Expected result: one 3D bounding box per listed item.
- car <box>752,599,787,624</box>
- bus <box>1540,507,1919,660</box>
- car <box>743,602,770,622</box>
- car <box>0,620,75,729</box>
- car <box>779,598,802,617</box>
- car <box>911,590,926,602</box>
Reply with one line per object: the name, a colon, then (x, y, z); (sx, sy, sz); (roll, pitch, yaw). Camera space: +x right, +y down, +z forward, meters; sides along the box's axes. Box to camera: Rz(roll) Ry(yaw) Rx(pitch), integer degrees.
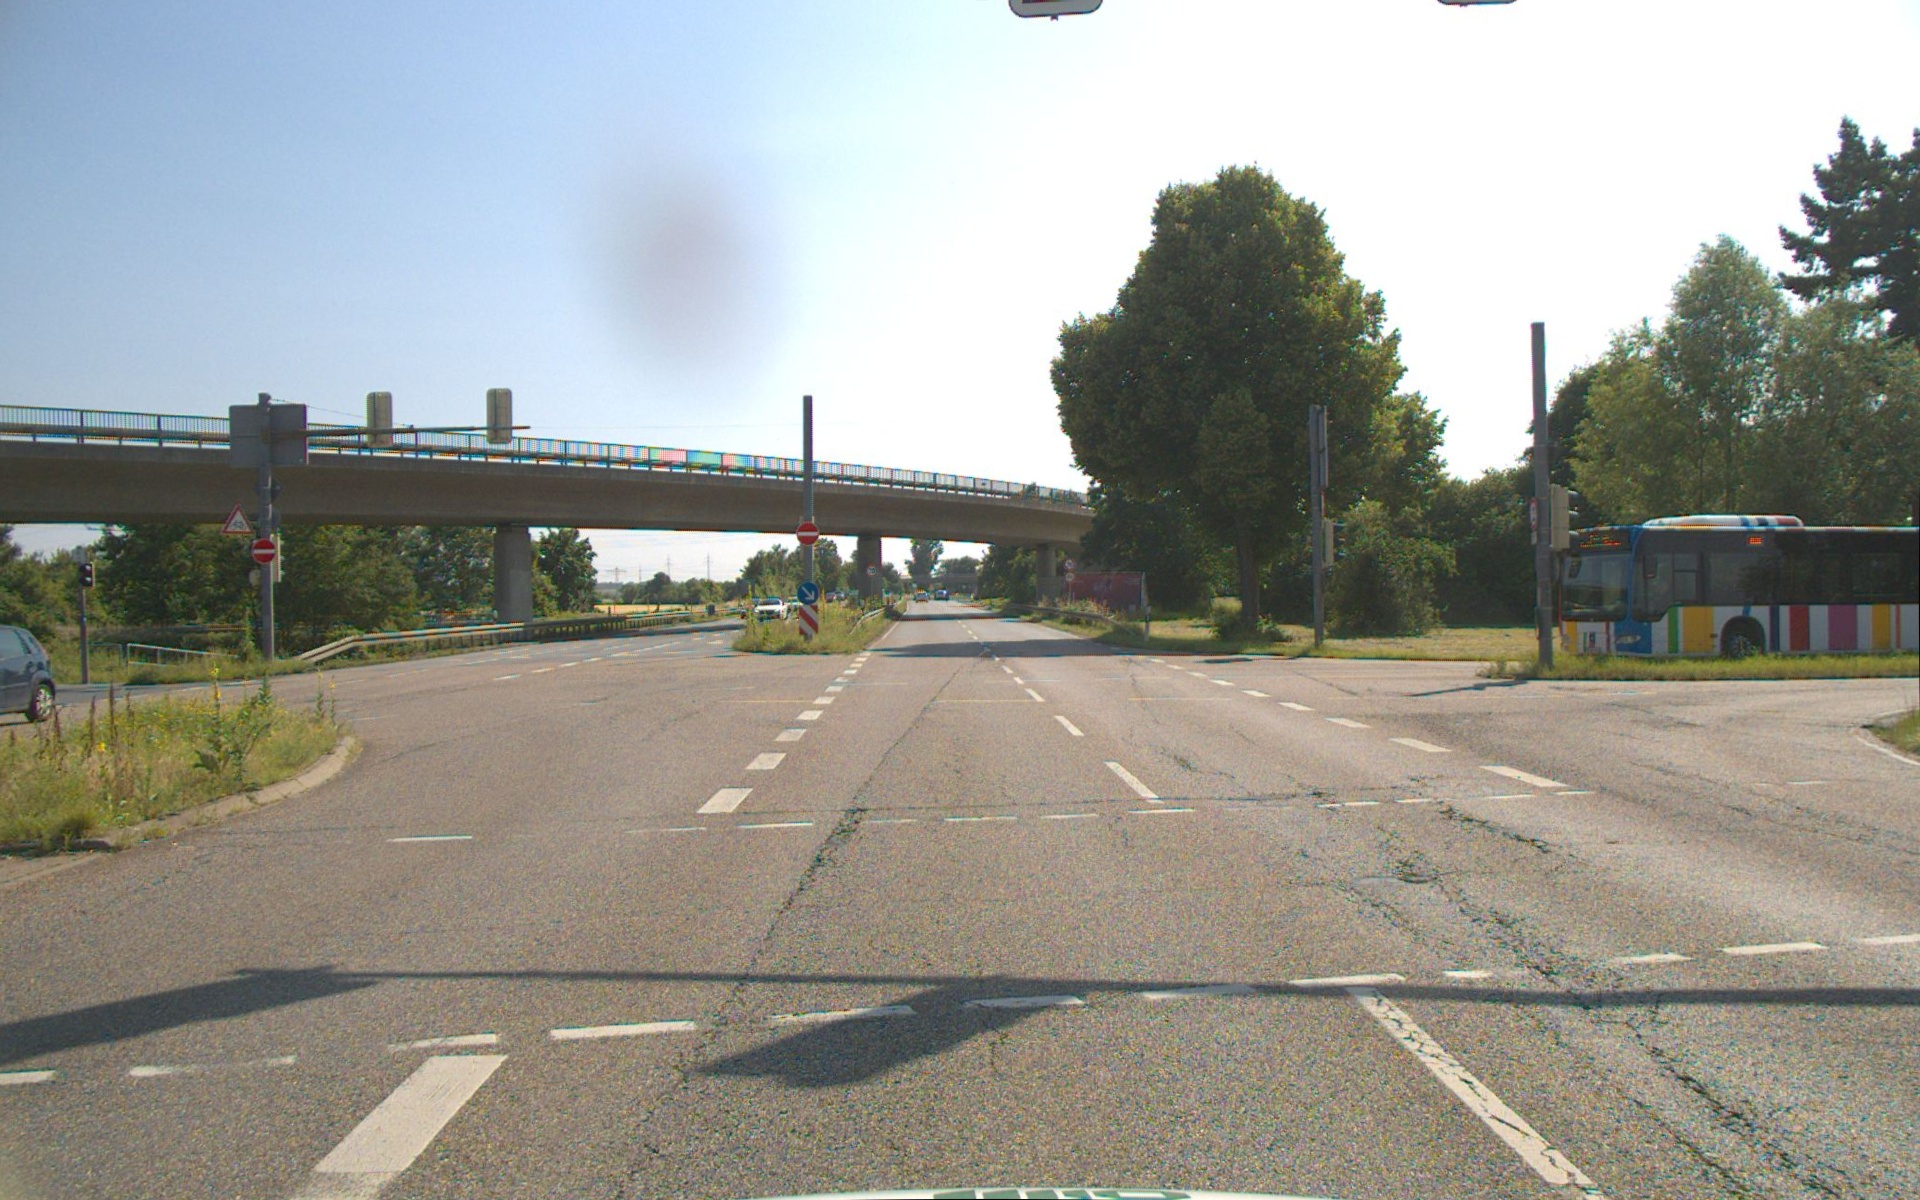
car: (-12.133, 0.729, 105.517); (1.819, 1.473, 4.239); (-3, 0, -2)
bus: (18.457, -0.436, 35.625); (11.745, 2.927, 2.929); (-2, 0, -16)
car: (-15.619, 0.893, 126.850); (1.607, 1.409, 4.239); (-2, 0, -2)
car: (-13.997, 1.084, 22.756); (1.582, 1.467, 3.775); (-3, 0, -1)
car: (-15.431, 0.634, 150.834); (1.754, 1.656, 3.999); (-2, 0, -2)
car: (-5.707, -0.556, 228.690); (1.813, 1.486, 4.000); (-3, 0, 0)
